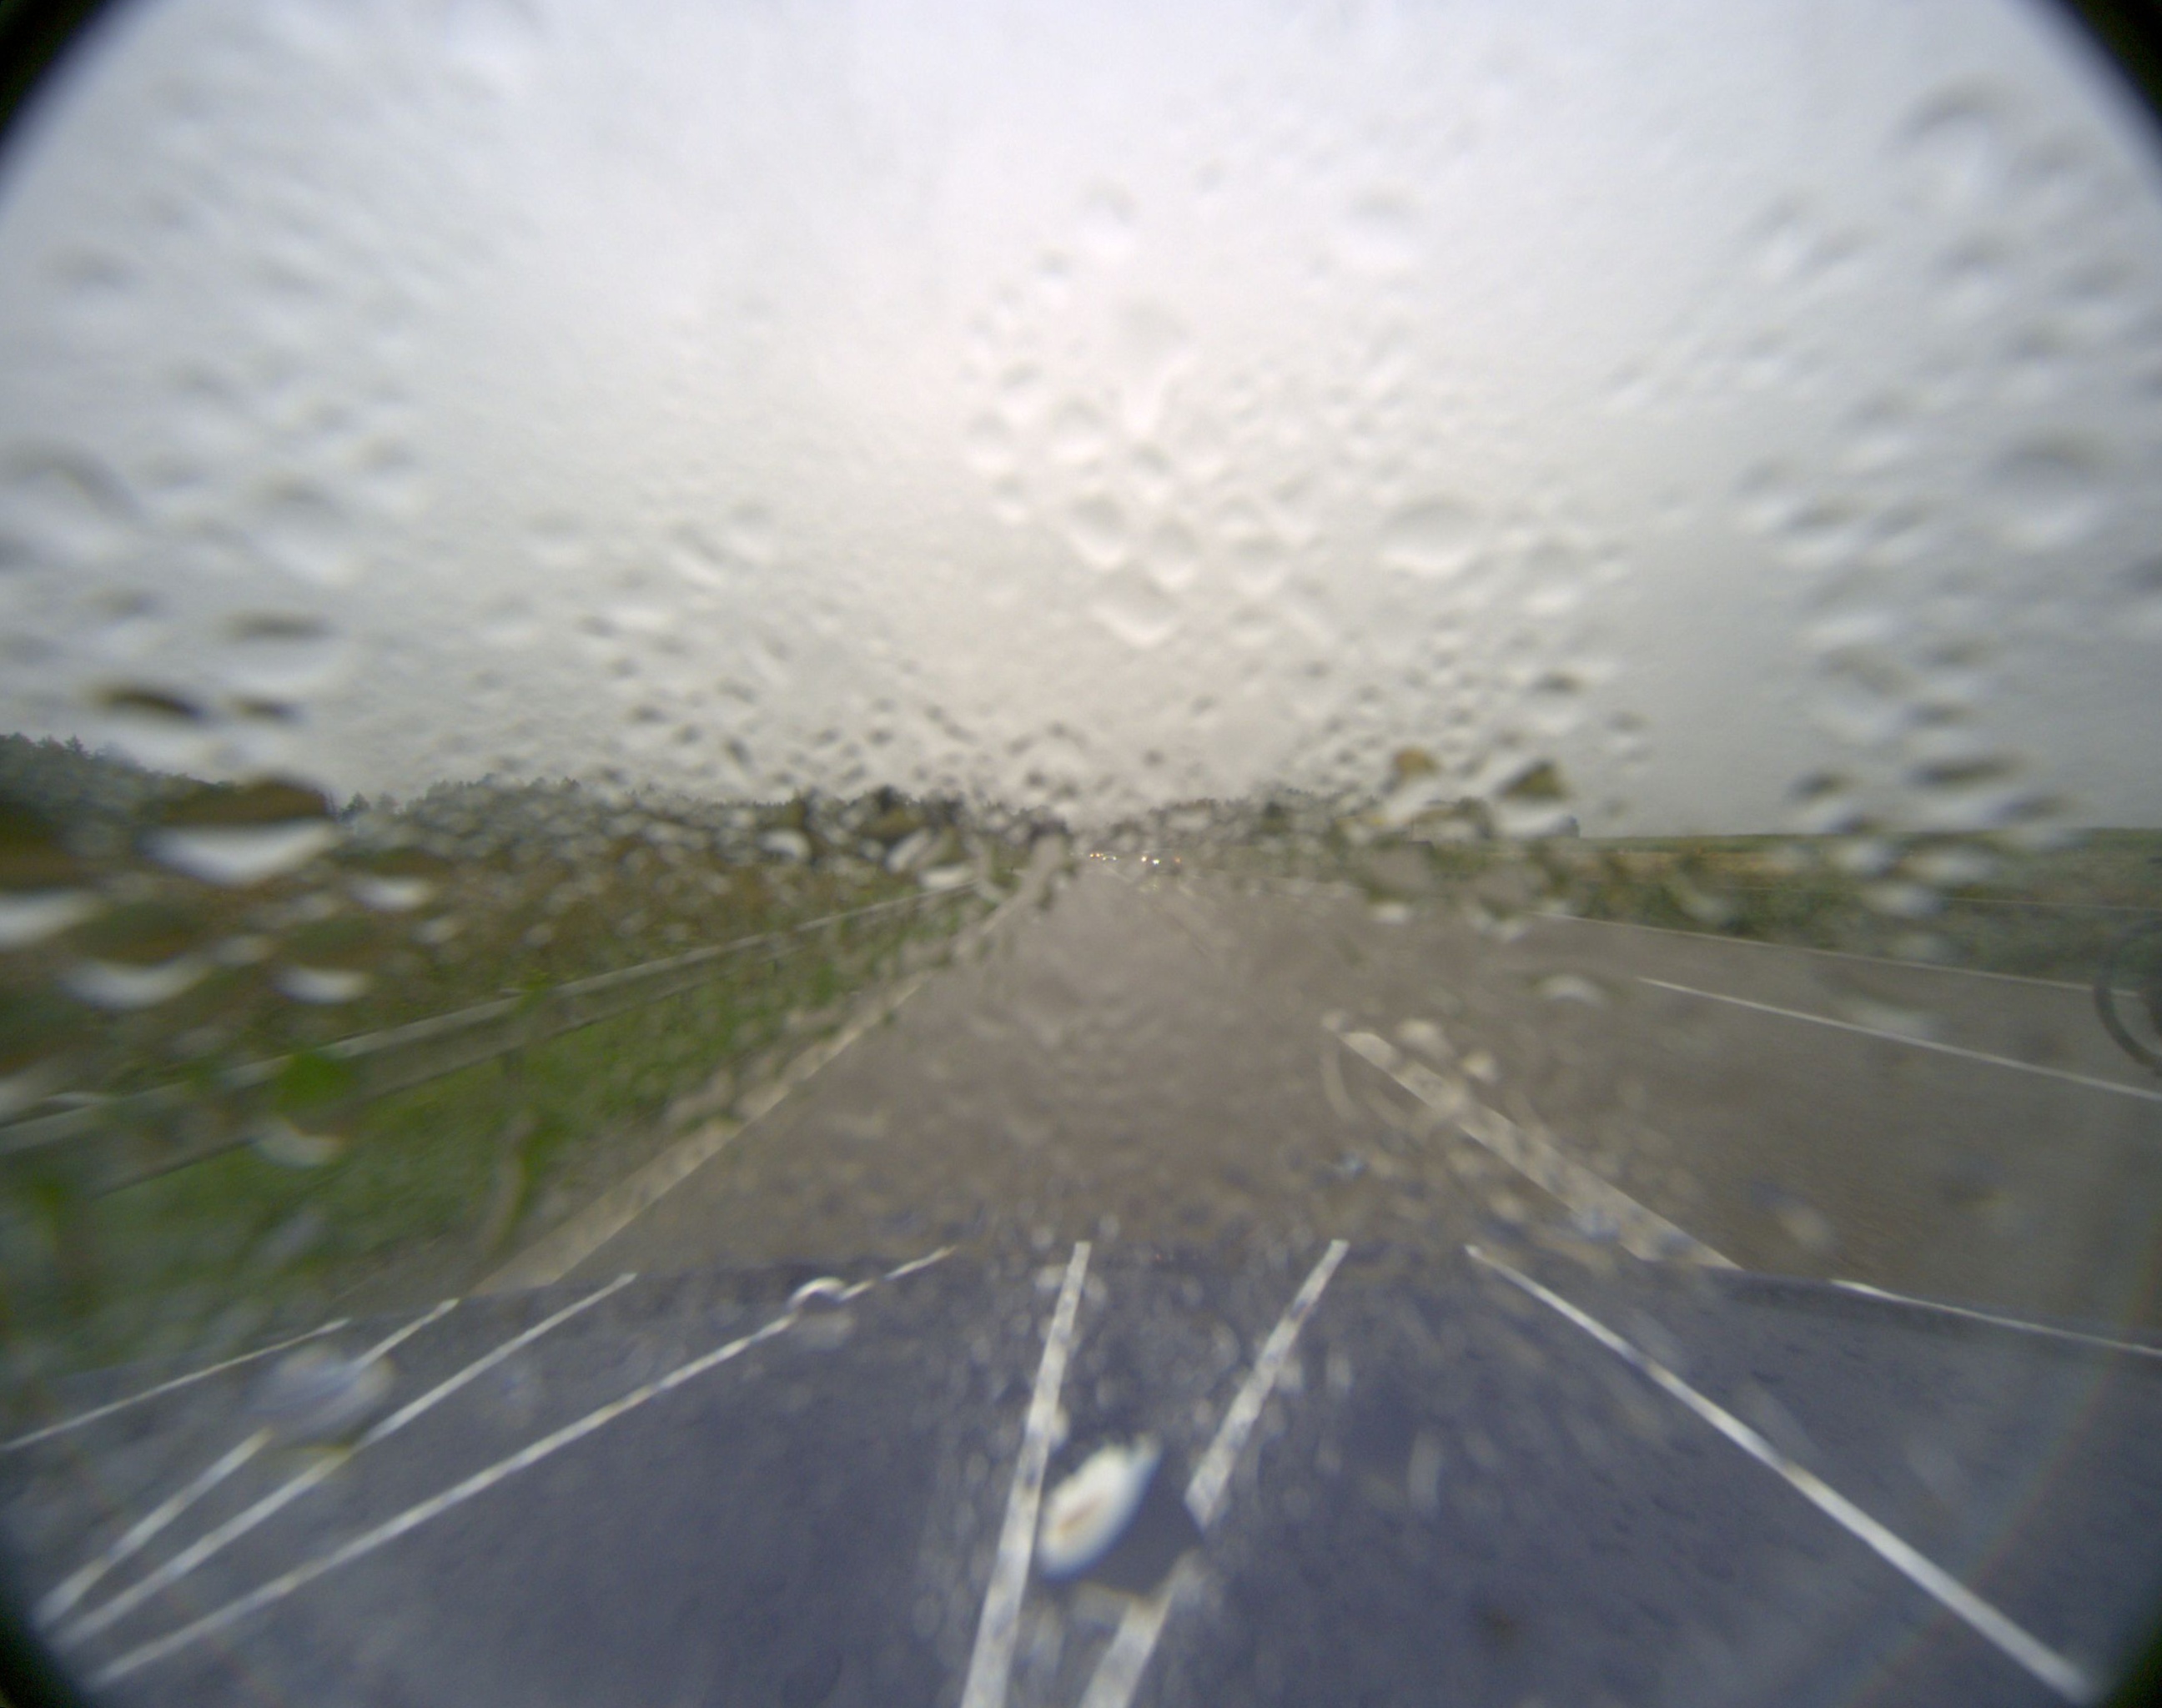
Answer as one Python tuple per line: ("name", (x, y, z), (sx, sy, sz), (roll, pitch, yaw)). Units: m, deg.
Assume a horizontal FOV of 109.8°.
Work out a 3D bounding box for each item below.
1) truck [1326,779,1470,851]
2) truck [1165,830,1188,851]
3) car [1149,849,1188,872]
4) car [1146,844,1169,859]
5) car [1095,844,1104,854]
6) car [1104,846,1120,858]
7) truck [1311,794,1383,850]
("truck", (20.385, -2.295, 50.608), (3.202, 3.944, 15.316), (-3, 1, 1))
("truck", (20.031, -2.782, 160.645), (3.202, 3.944, 13.812), (-3, 1, 1))
("car", (5.808, 0.407, 50.816), (2.099, 1.445, 4.594), (0, 1, 1))
("car", (8.531, -0.292, 84.761), (2.151, 1.627, 4.594), (0, 1, 1))
("car", (4.199, -1.130, 170.887), (1.998, 2.001, 4.642), (1, -1, 3))
("car", (4.354, -0.303, 107.177), (2.151, 1.627, 4.594), (0, 1, 1))
("truck", (20.502, -2.397, 59.057), (3.202, 3.944, 6.662), (-3, 1, 1))
